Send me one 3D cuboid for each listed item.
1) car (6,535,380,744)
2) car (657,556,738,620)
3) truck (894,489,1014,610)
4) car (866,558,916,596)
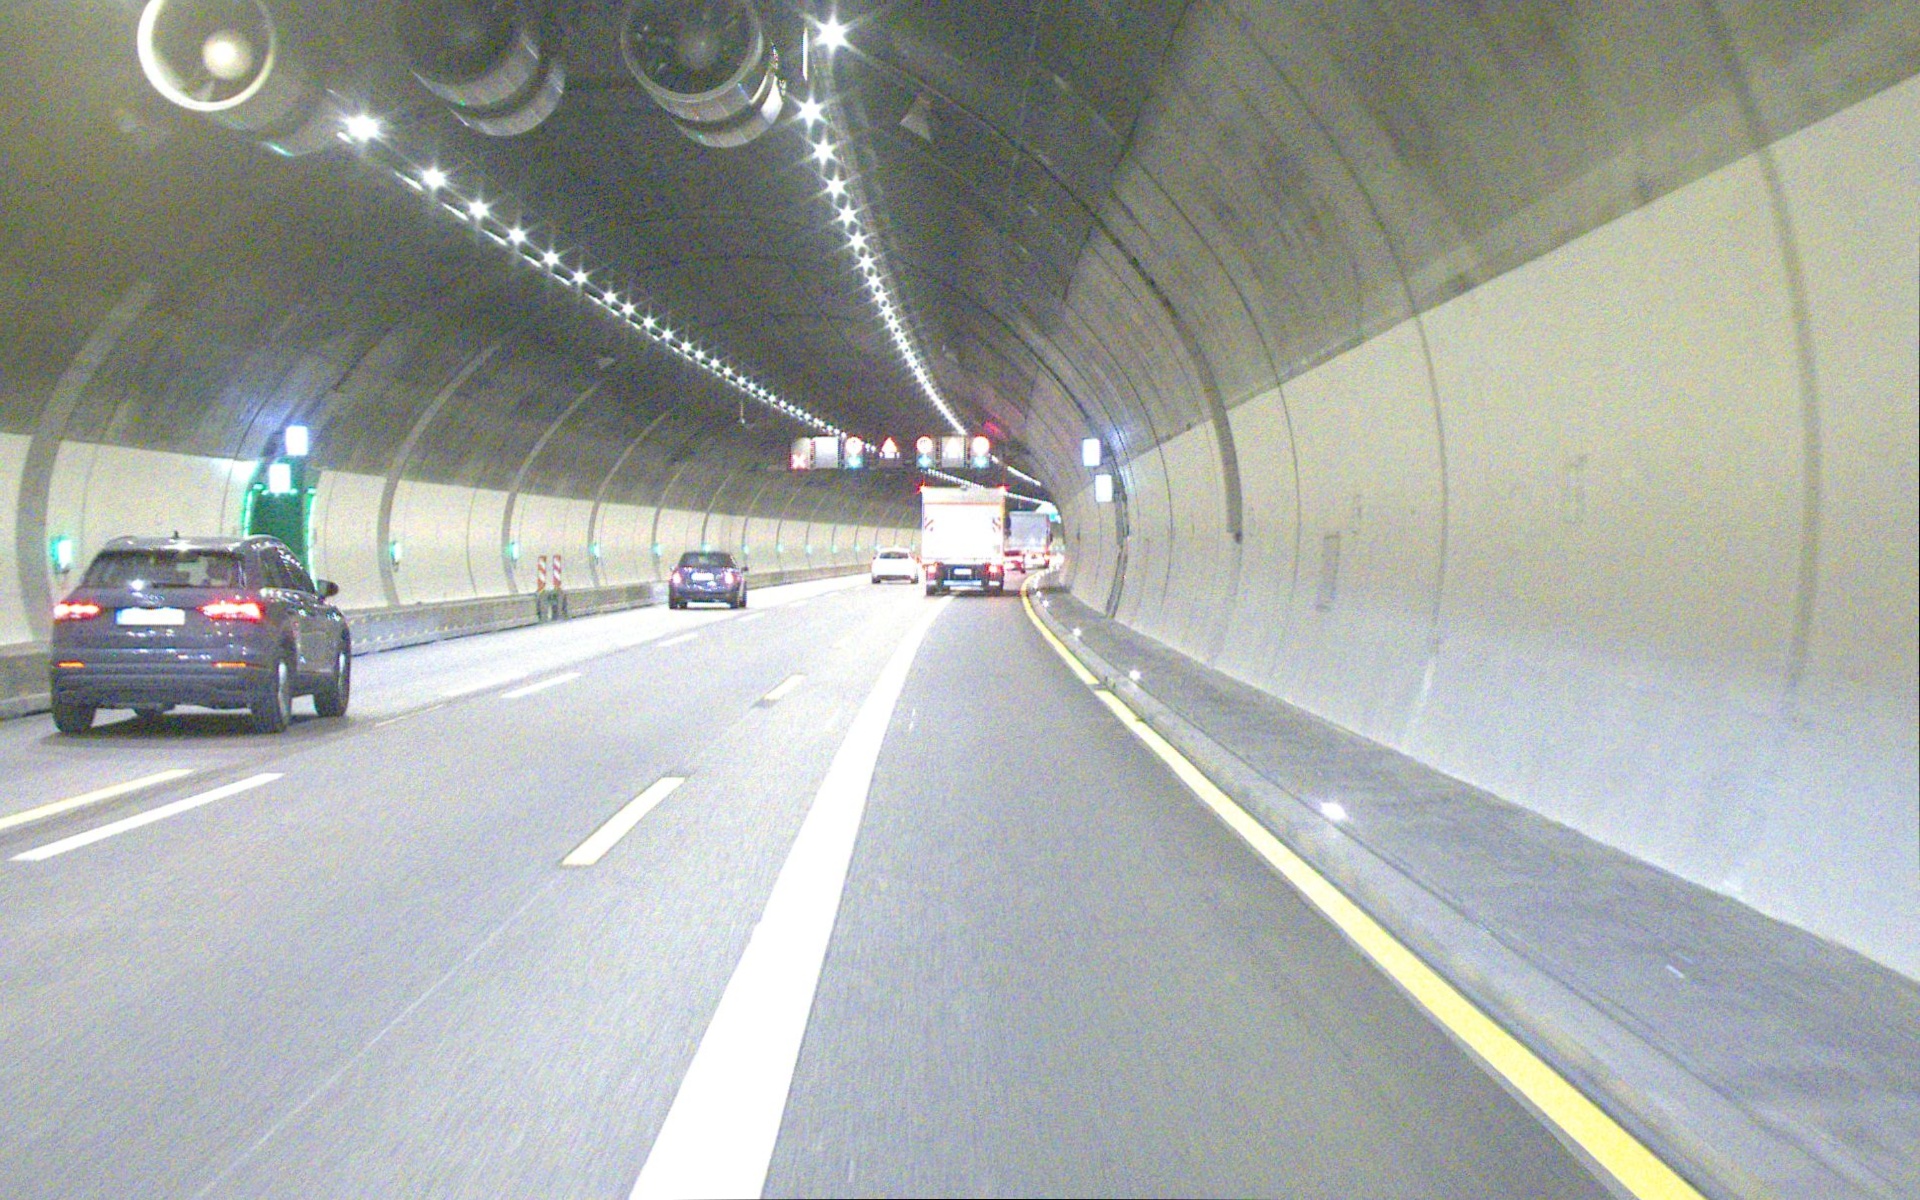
[{"bbox_3d":[-6.236,0.256,28.525,1.993,1.535,4.743,-2,1,0],"label":"car"},{"bbox_3d":[-6.379,-0.309,83.832,1.689,1.412,3.923,-2,2,-1],"label":"car"},{"bbox_3d":[-0.280,-1.711,111.338,3.592,3.637,10.723,-2,2,-1],"label":"truck"},{"bbox_3d":[-2.888,-0.963,142.562,1.993,1.408,4.743,-2,2,-1],"label":"car"}]
